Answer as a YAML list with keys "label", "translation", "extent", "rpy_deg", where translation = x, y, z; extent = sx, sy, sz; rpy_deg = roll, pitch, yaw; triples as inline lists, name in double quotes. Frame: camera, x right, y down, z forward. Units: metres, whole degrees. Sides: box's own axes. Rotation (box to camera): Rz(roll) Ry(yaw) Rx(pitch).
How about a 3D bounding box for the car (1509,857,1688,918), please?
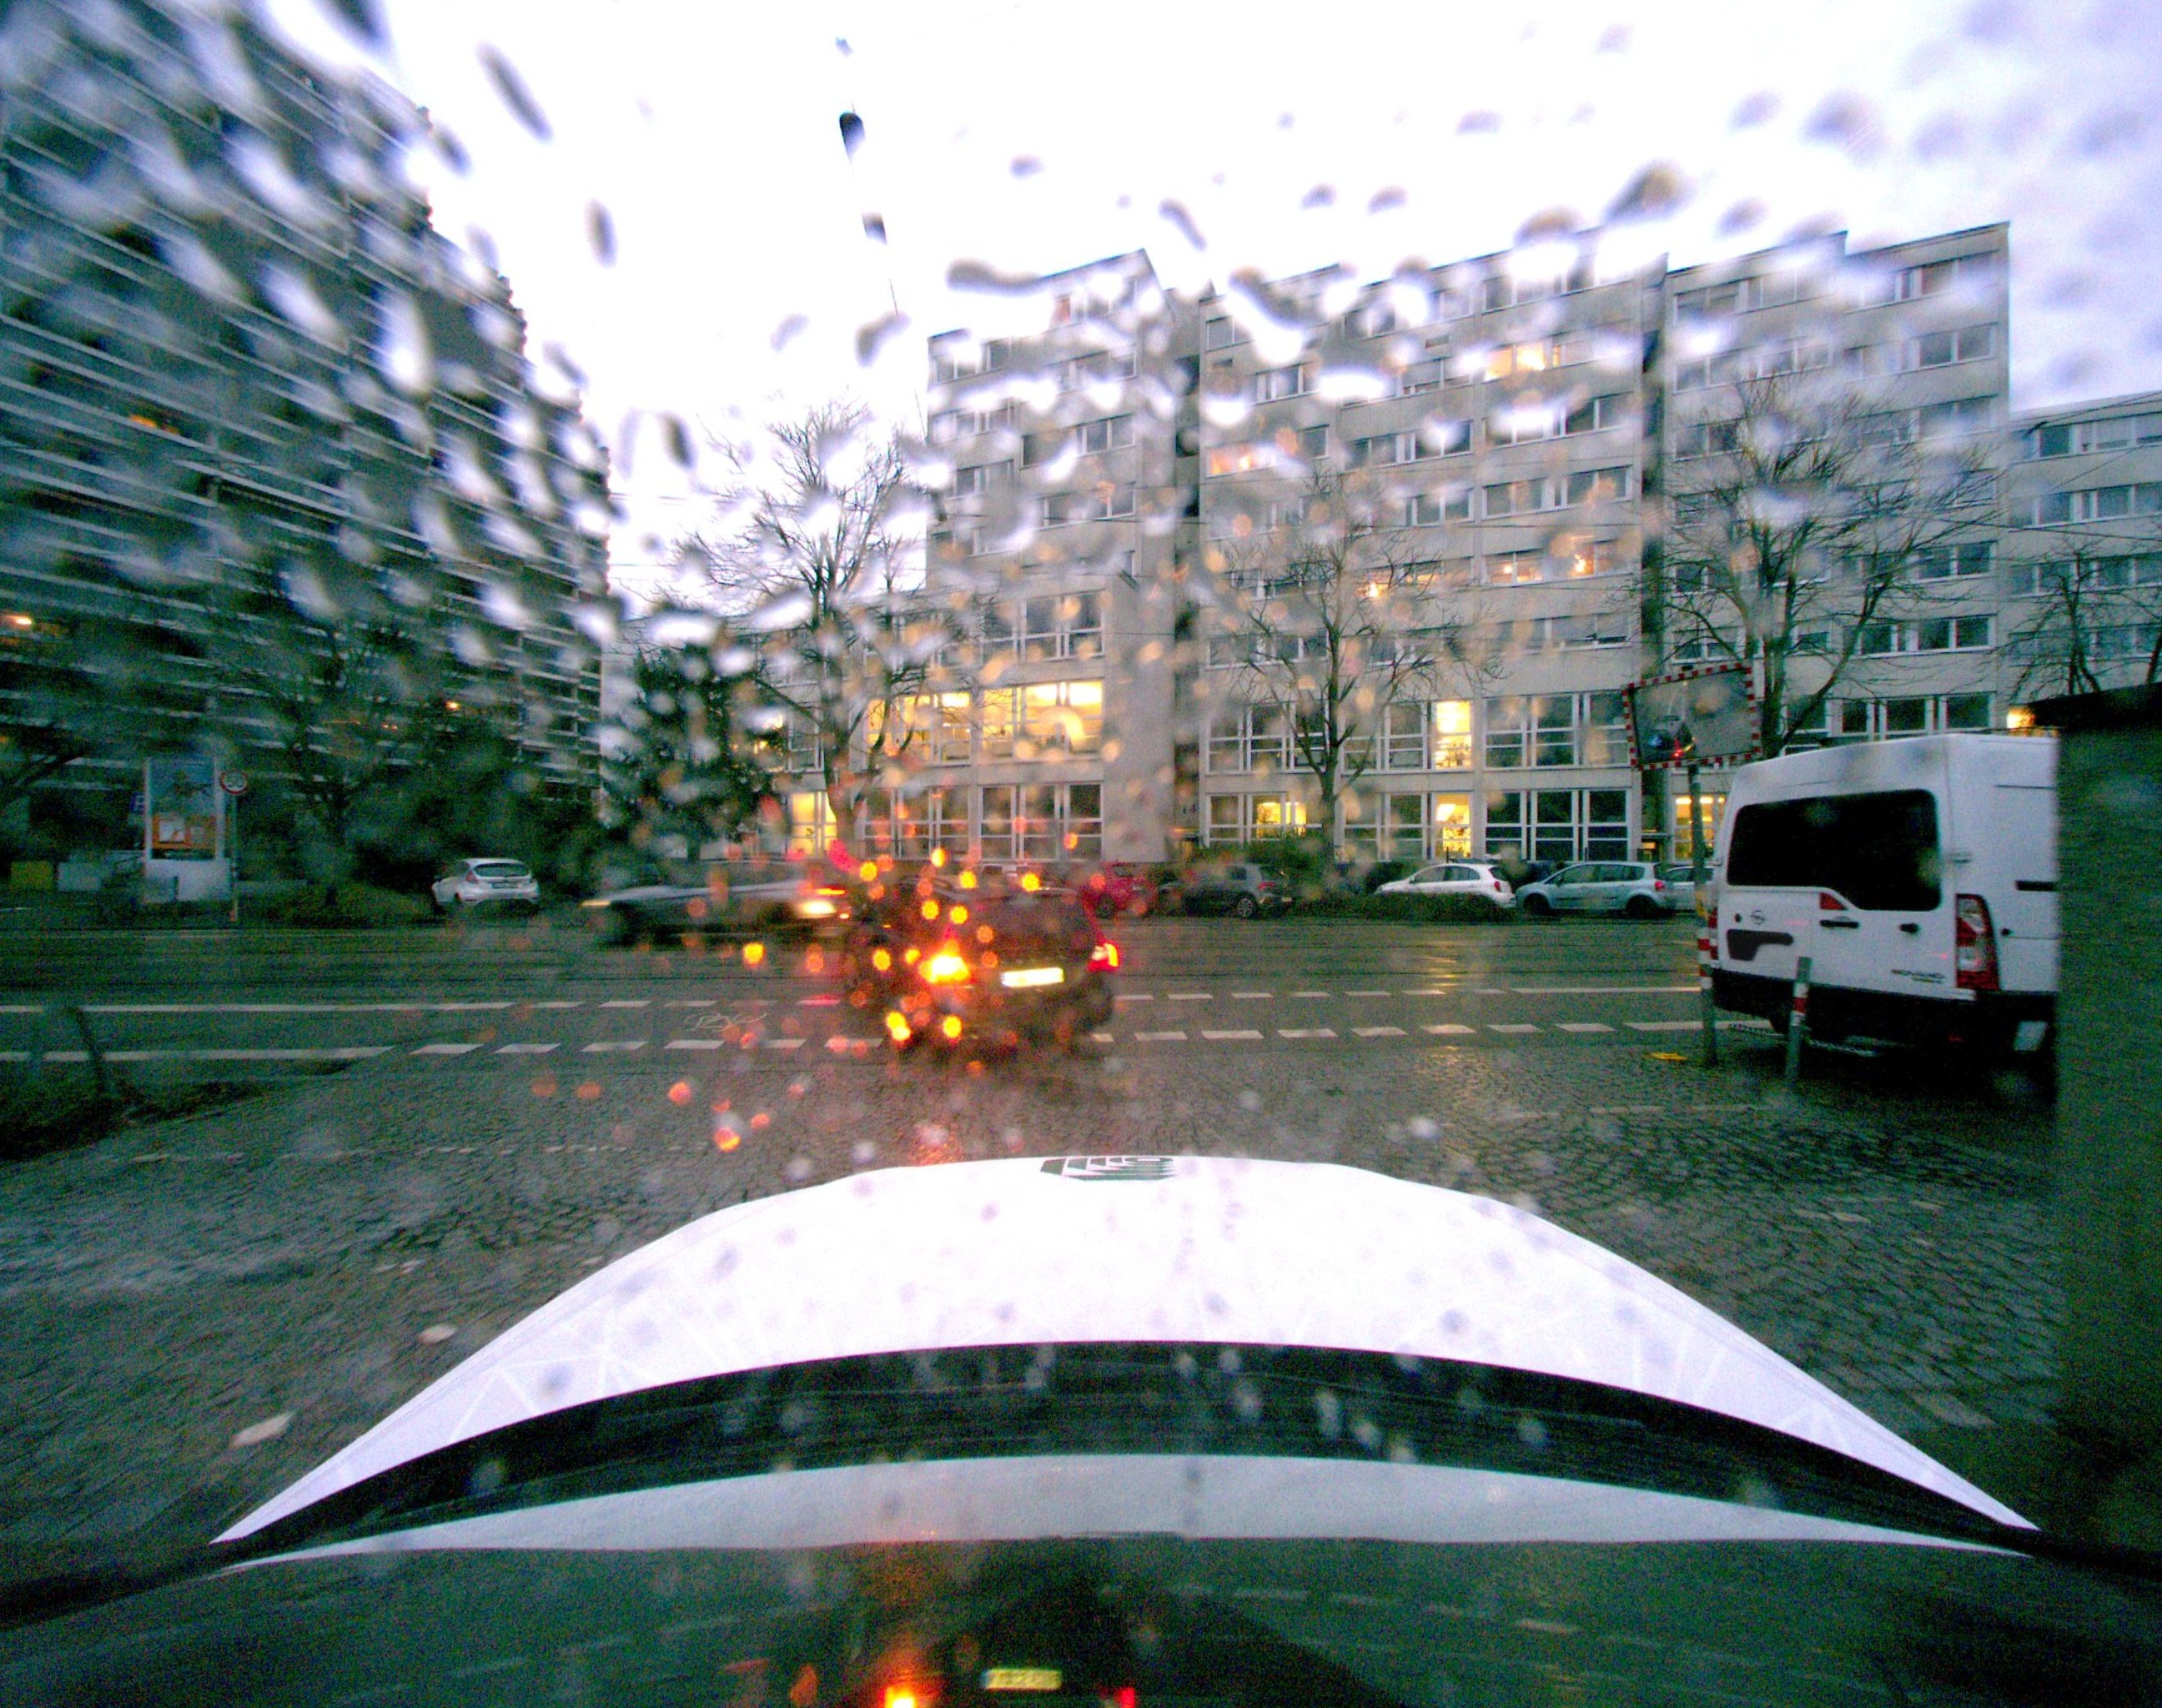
- label: "car"
  translation: [14.471, 0.894, 22.903]
  extent: [3.950, 1.563, 1.747]
  rpy_deg: [-1, -1, 44]

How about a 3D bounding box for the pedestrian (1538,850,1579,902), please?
- label: "pedestrian"
  translation: [15.765, 0.721, 26.906]
  extent: [0.968, 1.677, 0.598]
  rpy_deg: [0, -1, -4]

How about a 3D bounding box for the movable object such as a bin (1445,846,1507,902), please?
- label: "movable object such as a bin"
  translation: [13.729, 0.690, 28.353]
  extent: [1.310, 1.860, 1.573]
  rpy_deg: [-1, -1, -3]

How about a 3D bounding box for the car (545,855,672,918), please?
- label: "car"
  translation: [-12.314, 0.784, 21.117]
  extent: [3.950, 1.462, 1.867]
  rpy_deg: [-1, -1, 44]

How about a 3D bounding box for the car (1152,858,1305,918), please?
- label: "car"
  translation: [4.001, 0.873, 22.370]
  extent: [3.805, 1.493, 1.706]
  rpy_deg: [-1, -1, 43]

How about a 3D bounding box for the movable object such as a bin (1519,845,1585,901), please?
- label: "movable object such as a bin"
  translation: [16.460, 0.644, 28.522]
  extent: [1.310, 1.860, 1.573]
  rpy_deg: [-1, -1, -3]

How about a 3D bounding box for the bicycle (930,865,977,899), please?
- label: "bicycle"
  translation: [-4.408, 0.937, 28.327]
  extent: [0.635, 1.120, 2.216]
  rpy_deg: [-1, -1, 19]

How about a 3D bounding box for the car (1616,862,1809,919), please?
- label: "car"
  translation: [17.554, 0.969, 22.812]
  extent: [1.744, 1.444, 3.955]
  rpy_deg: [2, -2, -36]

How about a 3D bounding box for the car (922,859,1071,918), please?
- label: "car"
  translation: [-2.360, 0.879, 22.156]
  extent: [3.949, 1.446, 1.804]
  rpy_deg: [-1, -1, 40]

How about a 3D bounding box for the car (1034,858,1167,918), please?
- label: "car"
  translation: [0.490, 0.888, 22.474]
  extent: [3.408, 1.493, 1.740]
  rpy_deg: [-1, -1, 44]

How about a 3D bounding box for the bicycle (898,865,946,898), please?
- label: "bicycle"
  translation: [-5.580, 0.945, 28.685]
  extent: [0.635, 1.120, 2.216]
  rpy_deg: [-1, -1, 19]

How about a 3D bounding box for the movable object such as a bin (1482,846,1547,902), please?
- label: "movable object such as a bin"
  translation: [15.117, 0.679, 28.450]
  extent: [1.385, 1.860, 1.573]
  rpy_deg: [-1, -1, -3]

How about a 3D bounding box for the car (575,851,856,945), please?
- label: "car"
  translation: [-6.537, 0.758, 14.953]
  extent: [4.357, 1.579, 1.709]
  rpy_deg: [0, -1, -5]

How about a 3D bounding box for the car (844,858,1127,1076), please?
- label: "car"
  translation: [-1.260, 0.850, 8.360]
  extent: [1.755, 1.544, 4.262]
  rpy_deg: [0, 1, -23]

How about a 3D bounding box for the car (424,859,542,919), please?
- label: "car"
  translation: [-15.594, 0.845, 21.162]
  extent: [3.950, 1.400, 1.867]
  rpy_deg: [-1, -1, 44]

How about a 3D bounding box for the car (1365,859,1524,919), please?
- label: "car"
  translation: [10.338, 0.944, 23.302]
  extent: [3.827, 1.551, 1.703]
  rpy_deg: [-1, -1, 42]

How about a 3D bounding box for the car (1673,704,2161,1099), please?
- label: "car"
  translation: [8.056, 0.342, 6.505]
  extent: [5.414, 2.487, 2.126]
  rpy_deg: [1, -1, -7]
